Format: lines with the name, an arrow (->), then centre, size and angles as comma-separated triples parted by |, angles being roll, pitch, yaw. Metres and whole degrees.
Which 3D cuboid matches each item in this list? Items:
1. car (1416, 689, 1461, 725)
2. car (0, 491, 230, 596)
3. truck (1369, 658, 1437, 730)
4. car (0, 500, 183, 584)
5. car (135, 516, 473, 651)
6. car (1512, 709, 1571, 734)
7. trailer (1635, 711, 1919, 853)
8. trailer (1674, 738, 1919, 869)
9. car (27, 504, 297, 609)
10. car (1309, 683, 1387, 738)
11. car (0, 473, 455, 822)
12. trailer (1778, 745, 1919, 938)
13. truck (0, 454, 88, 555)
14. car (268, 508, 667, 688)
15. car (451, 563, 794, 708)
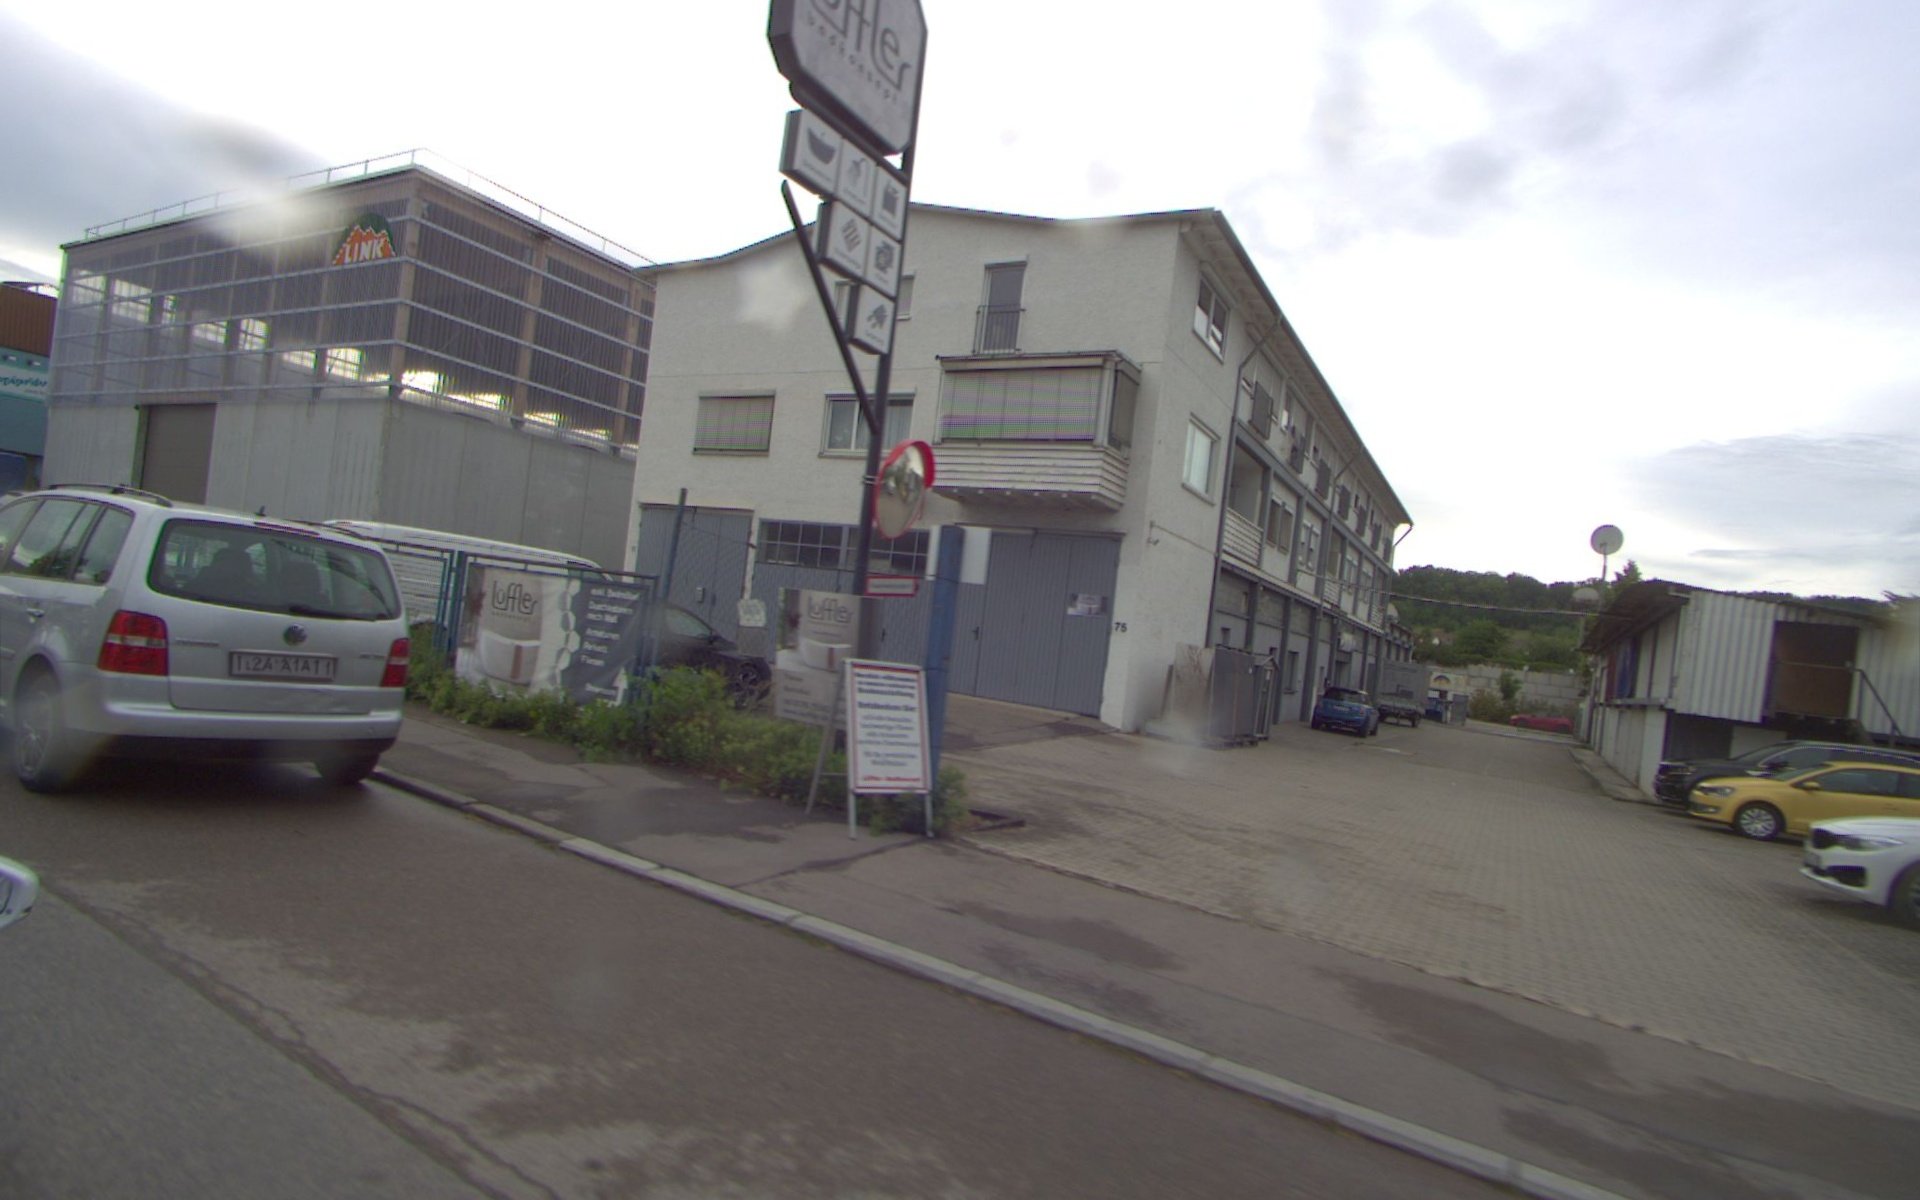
car -> 28.498, 6.391, 59.866 | 2.031, 1.814, 3.878 | 7, -3, 29
car -> -19.892, -1.280, 23.341 | 1.949, 1.693, 4.235 | 6, -3, 33
truck -> 19.795, 4.155, 44.846 | 2.039, 2.812, 4.608 | 7, 0, 29
car -> -22.025, -1.462, 24.883 | 1.803, 1.506, 3.975 | 7, -3, 32
car -> -11.234, -0.194, 17.599 | 1.862, 1.642, 4.457 | 7, -3, 30
car -> 40.946, 8.553, 70.808 | 3.460, 1.160, 1.613 | 6, -3, 32
trailer -> 15.407, 3.318, 18.707 | 4.326, 1.833, 2.001 | 7, -2, 26
trailer -> 14.107, 3.287, 16.181 | 4.027, 1.481, 1.644 | 6, -3, 32
car -> -17.679, -0.900, 22.519 | 1.781, 1.552, 4.255 | 7, -4, 31
car -> 12.595, 3.583, 32.553 | 1.668, 1.430, 3.774 | 7, -2, 30
car -> -5.504, 0.146, 6.716 | 4.302, 1.639, 1.742 | 6, -3, 33
trailer -> 10.524, 2.482, 8.892 | 4.722, 1.538, 1.773 | 7, -1, 29
truck -> -40.903, -4.236, 43.168 | 2.673, 3.711, 4.160 | 7, -4, 29
car -> -6.860, 0.105, 14.639 | 1.967, 1.907, 4.743 | 7, -3, 31
car -> -4.493, 0.587, 14.034 | 1.967, 1.473, 4.114 | 7, -3, 31
